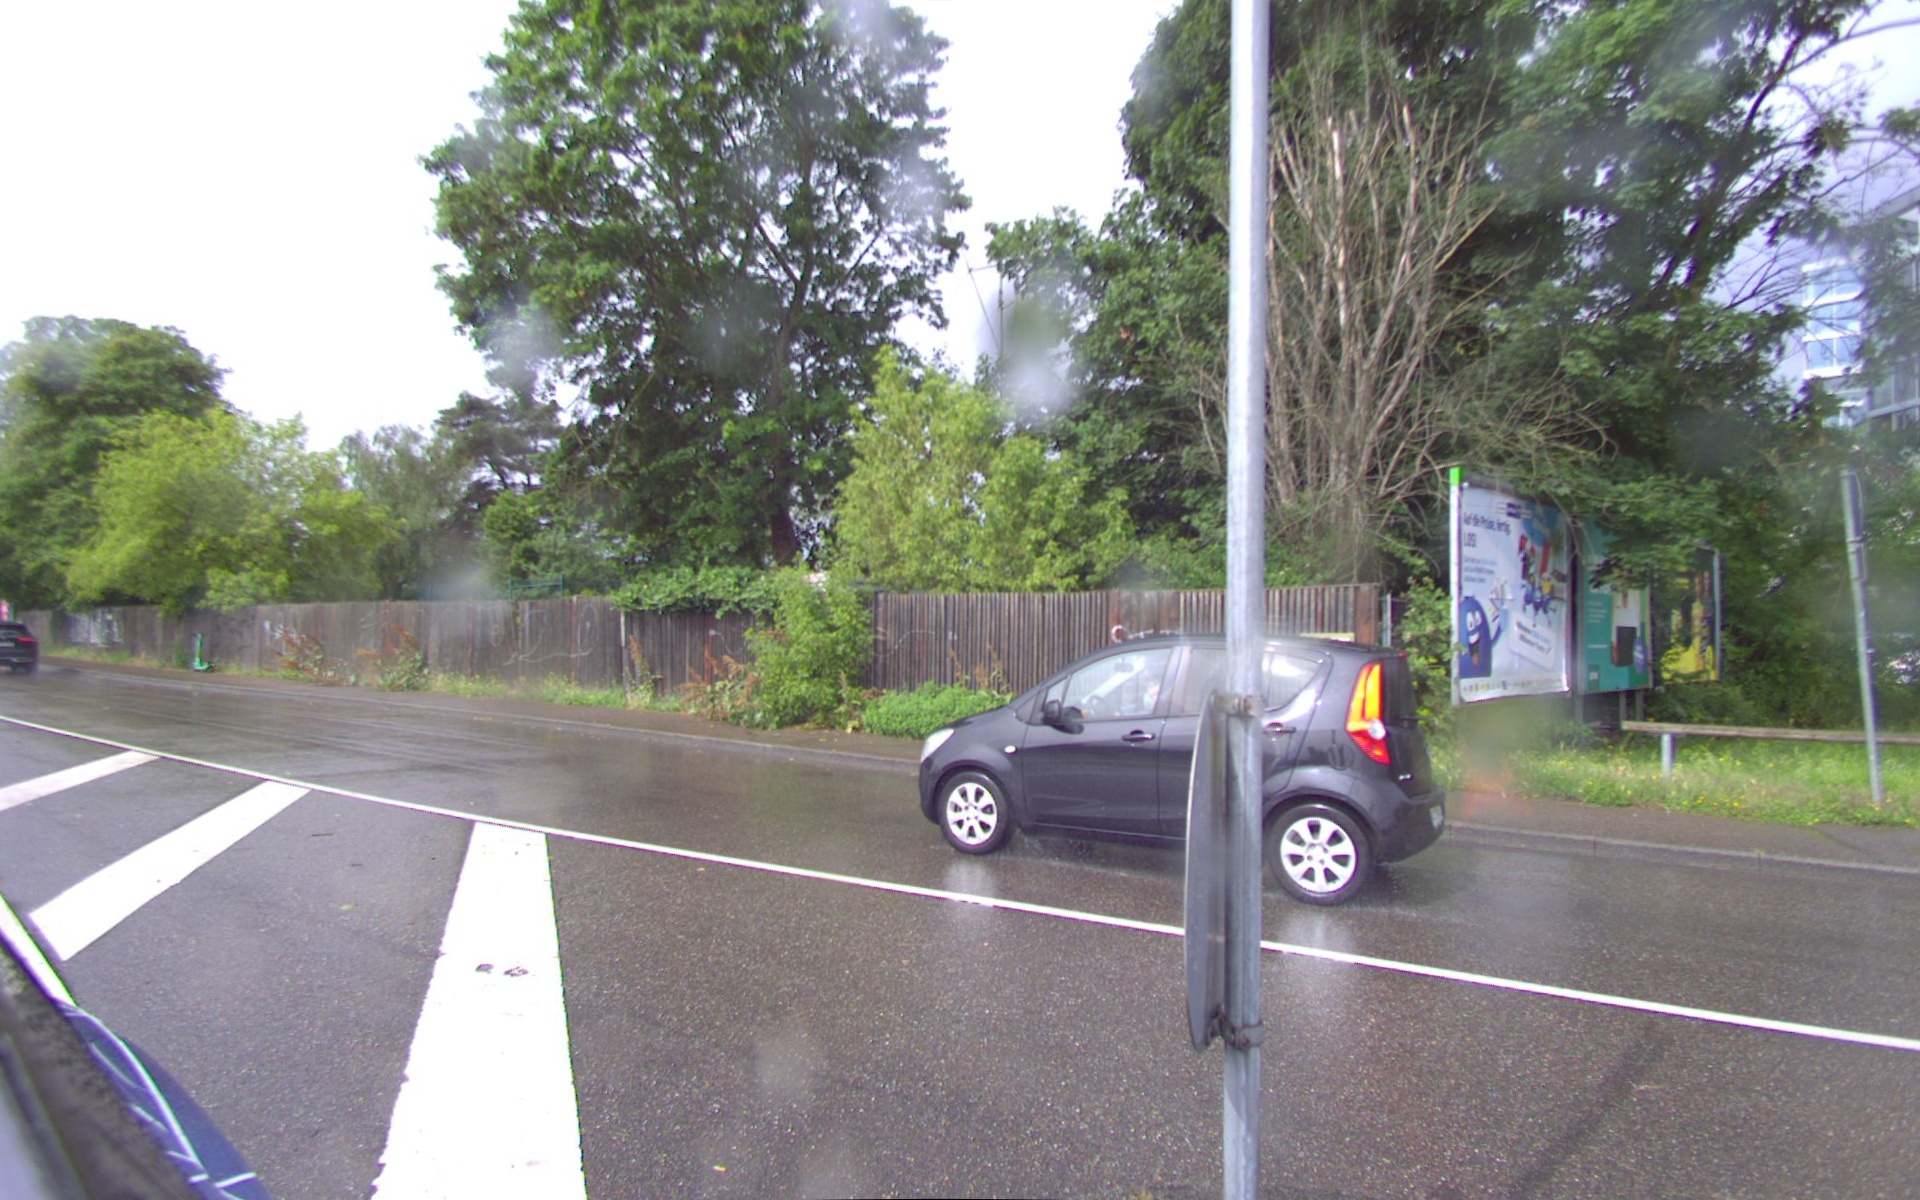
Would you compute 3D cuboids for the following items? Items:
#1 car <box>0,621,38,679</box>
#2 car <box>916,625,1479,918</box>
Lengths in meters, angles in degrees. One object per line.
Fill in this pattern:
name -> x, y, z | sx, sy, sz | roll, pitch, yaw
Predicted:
car -> -30.163, 1.539, 31.191 | 3.993, 1.722, 1.833 | -2, -4, 37
car -> 1.570, 0.990, 6.982 | 3.446, 1.545, 1.615 | -2, -4, 32
